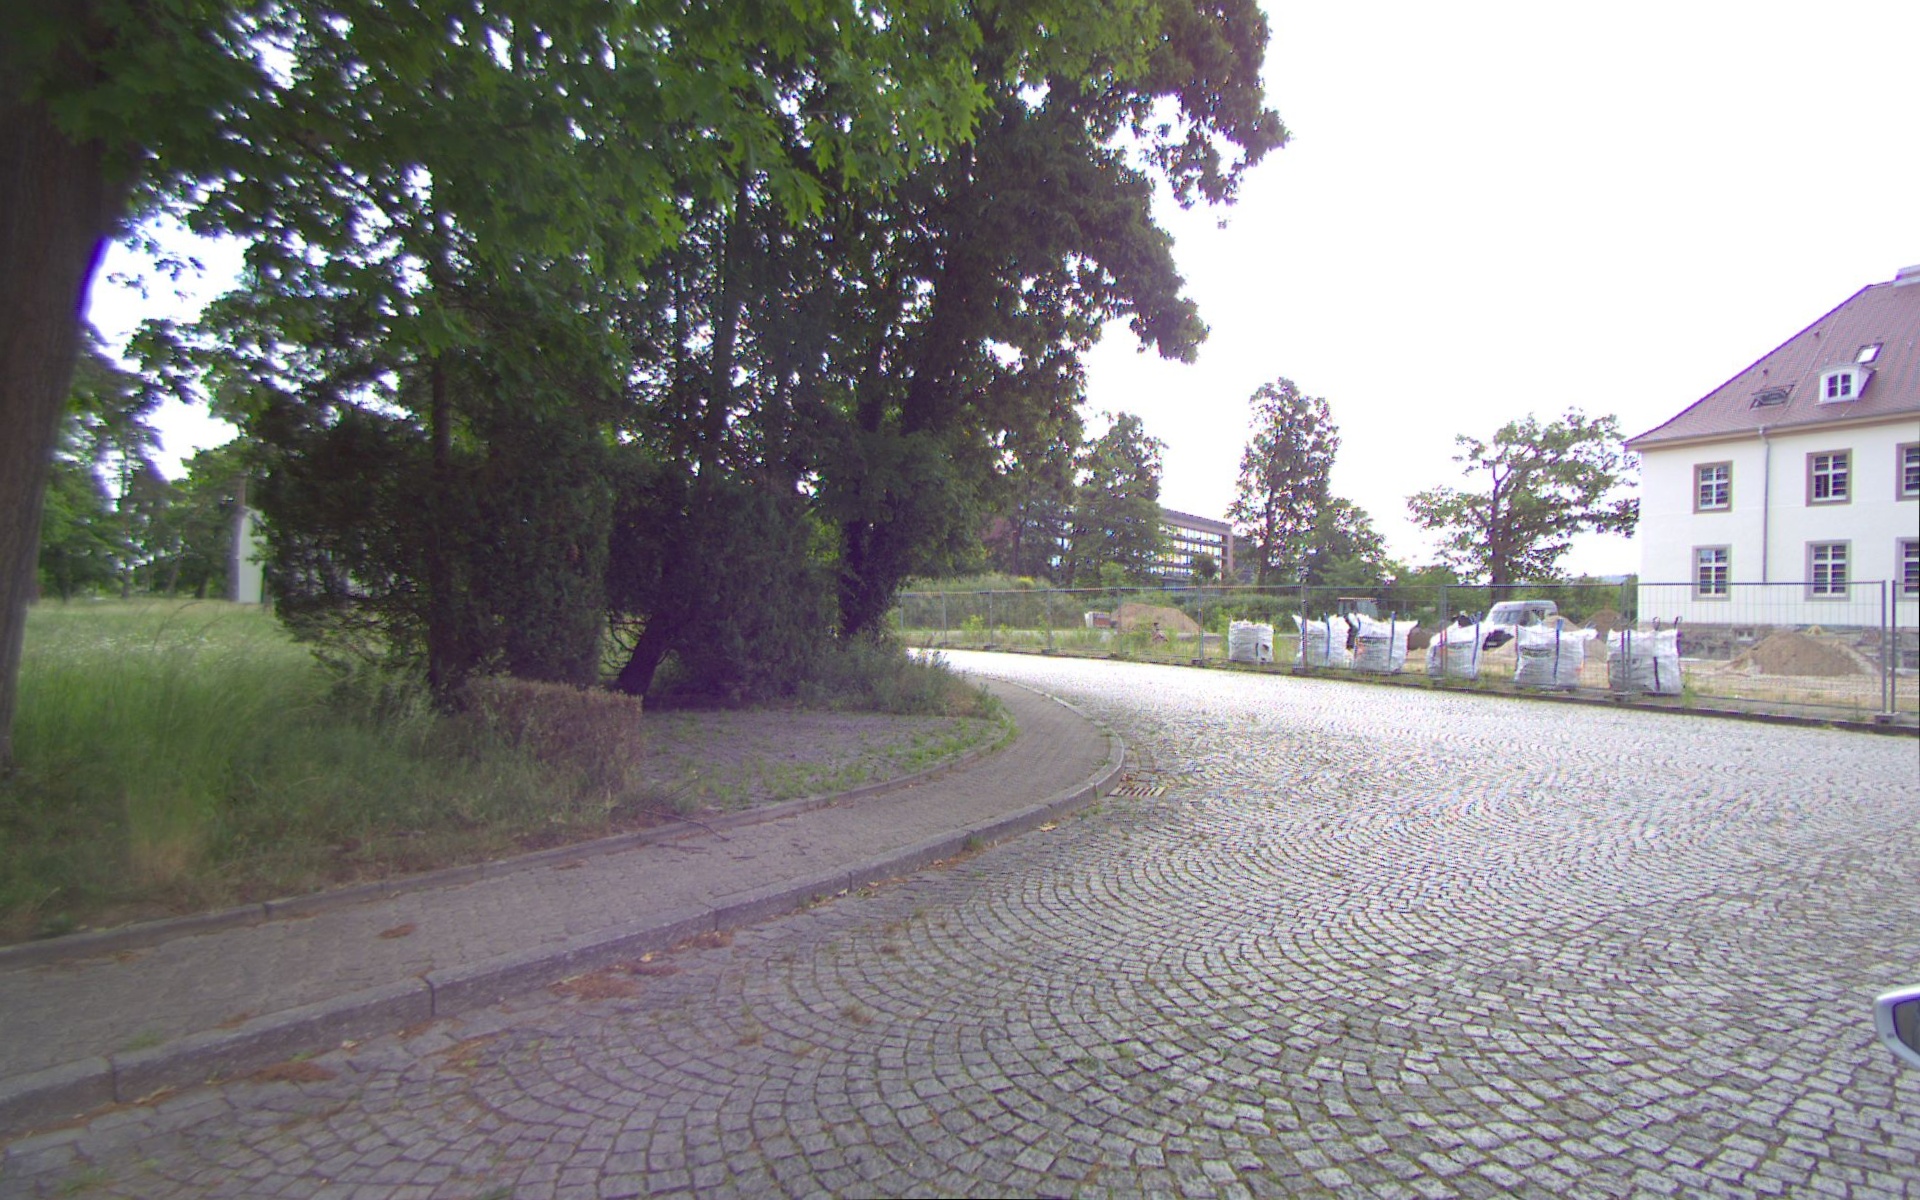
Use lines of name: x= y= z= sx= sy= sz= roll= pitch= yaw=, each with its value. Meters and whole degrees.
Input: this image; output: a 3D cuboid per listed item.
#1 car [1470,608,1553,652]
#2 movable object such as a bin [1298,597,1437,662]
car: x=28.992 y=1.568 z=52.761 sx=4.854 sy=2.179 sz=2.052 roll=1 pitch=-1 yaw=-37
movable object such as a bin: x=17.055 y=1.179 z=42.324 sx=1.978 sy=2.590 sz=5.301 roll=1 pitch=-1 yaw=-31
